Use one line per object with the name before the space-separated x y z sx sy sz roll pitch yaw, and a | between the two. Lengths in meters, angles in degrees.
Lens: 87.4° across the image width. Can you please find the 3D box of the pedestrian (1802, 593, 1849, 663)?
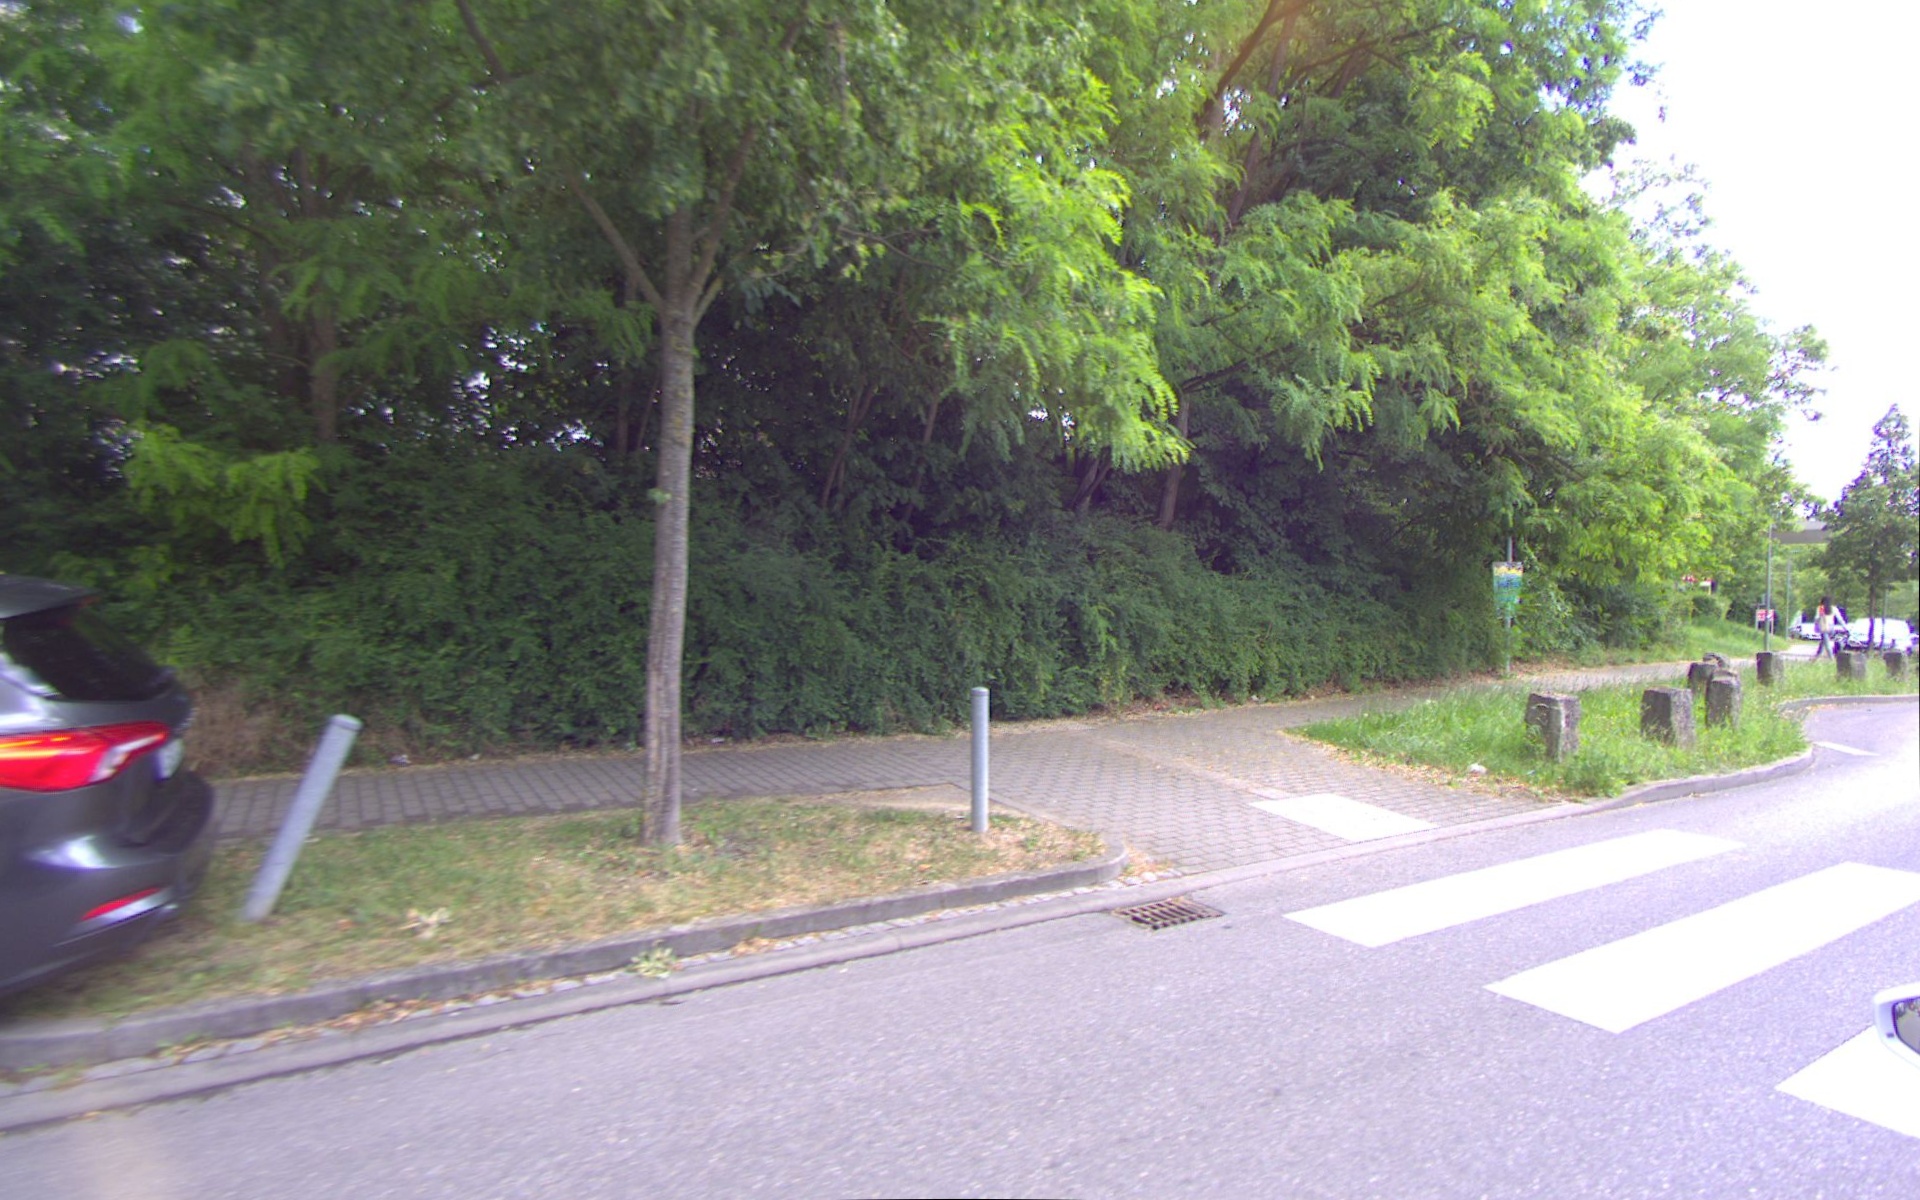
pedestrian | 22.329 0.707 25.919 0.653 1.745 0.732 0 2 -36

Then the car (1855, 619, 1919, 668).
car | 32.241 1.476 34.738 1.863 1.480 3.527 2 2 42

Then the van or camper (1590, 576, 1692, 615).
van or camper | 39.696 -0.281 58.561 4.792 2.114 1.992 2 2 37

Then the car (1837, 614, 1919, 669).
car | 28.779 1.240 31.456 1.764 1.488 3.982 2 2 39

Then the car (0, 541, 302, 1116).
car | -4.328 0.566 2.519 4.406 1.485 1.680 1 4 -32

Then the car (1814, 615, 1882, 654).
car | 38.961 1.487 44.150 1.861 1.529 4.434 2 0 38
